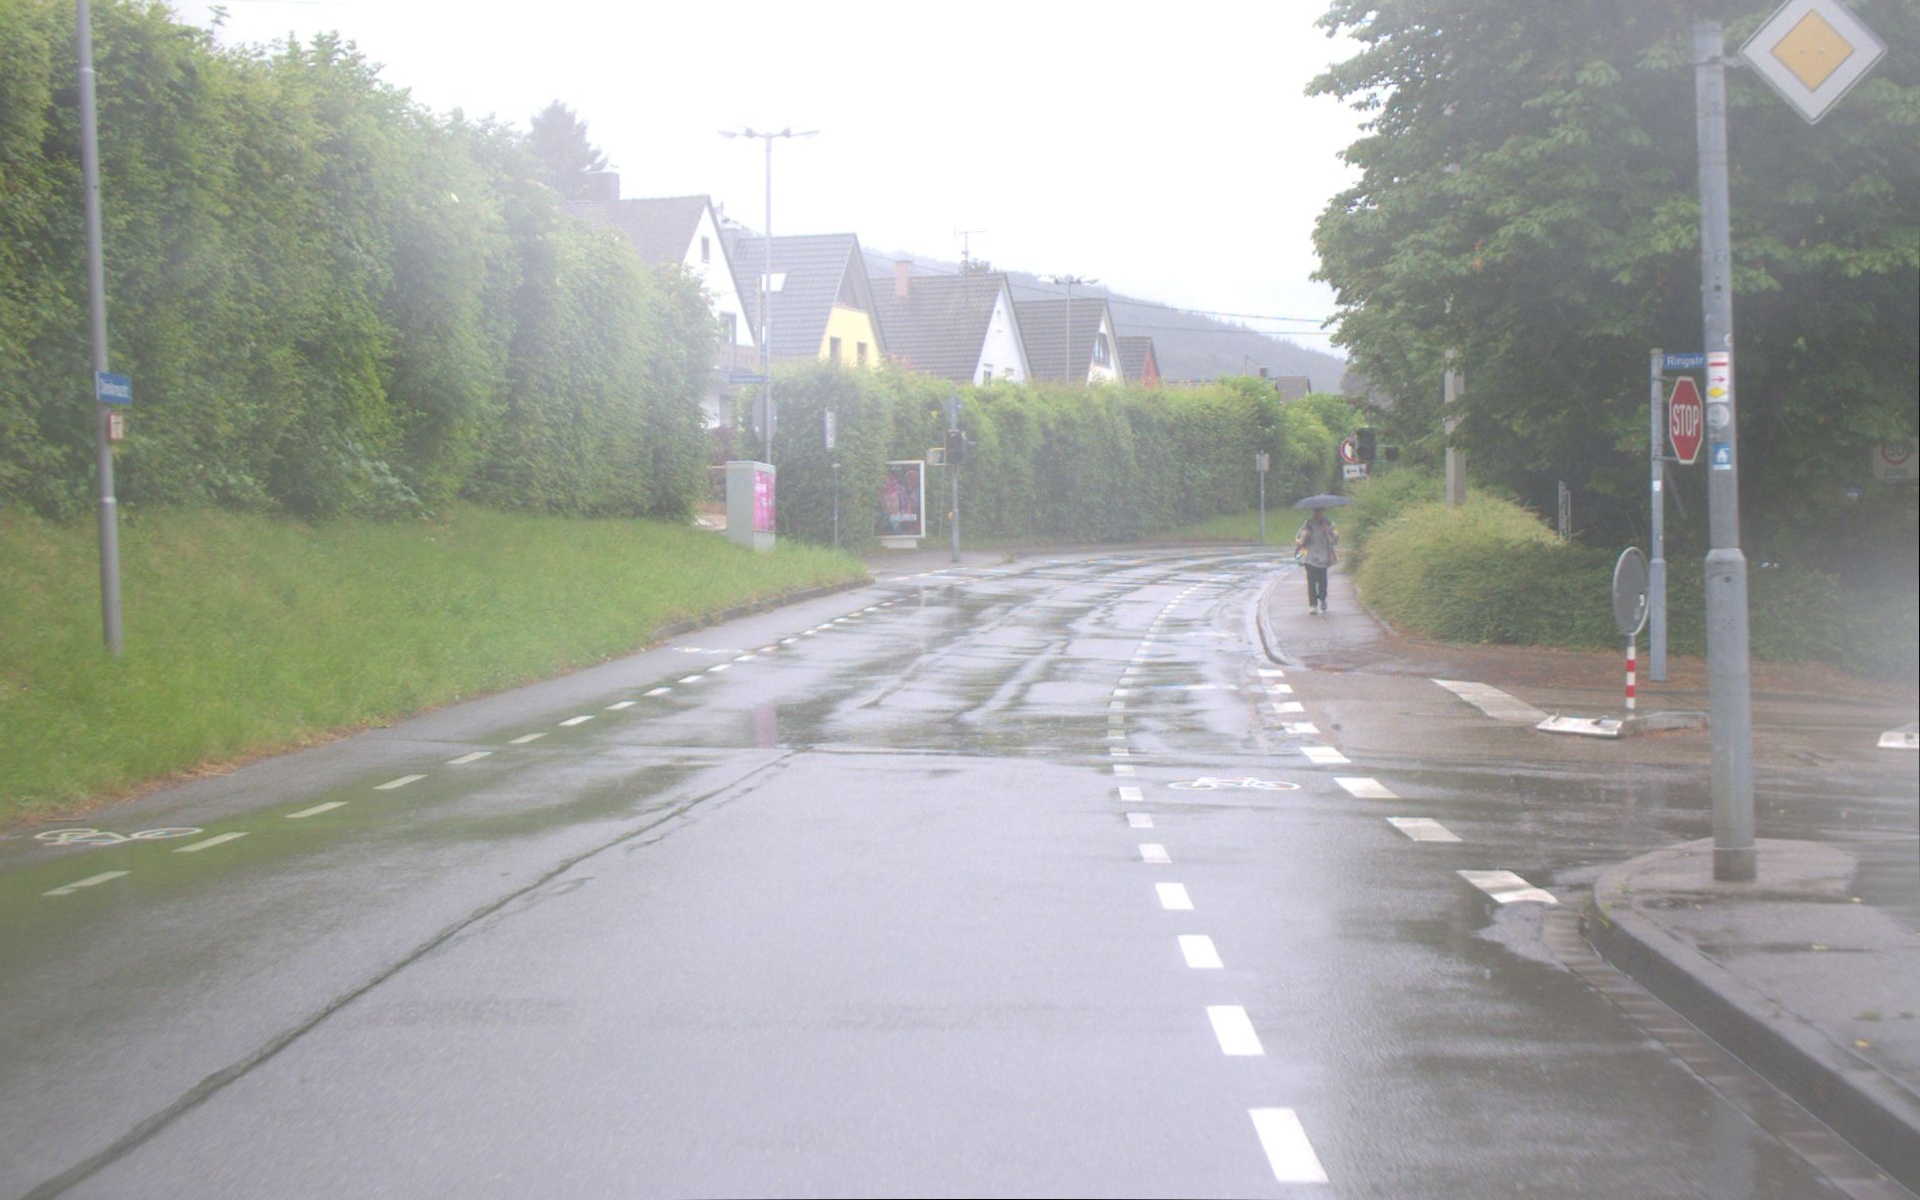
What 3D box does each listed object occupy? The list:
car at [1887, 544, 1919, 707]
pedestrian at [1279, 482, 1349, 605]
[{"bbox_3d":[10.382,0.269,28.868,4.610,1.383,1.943,2,2,36],"label":"car"},{"bbox_3d":[4.956,-0.799,48.162,0.920,1.669,1.057,-2,2,5],"label":"pedestrian"}]
